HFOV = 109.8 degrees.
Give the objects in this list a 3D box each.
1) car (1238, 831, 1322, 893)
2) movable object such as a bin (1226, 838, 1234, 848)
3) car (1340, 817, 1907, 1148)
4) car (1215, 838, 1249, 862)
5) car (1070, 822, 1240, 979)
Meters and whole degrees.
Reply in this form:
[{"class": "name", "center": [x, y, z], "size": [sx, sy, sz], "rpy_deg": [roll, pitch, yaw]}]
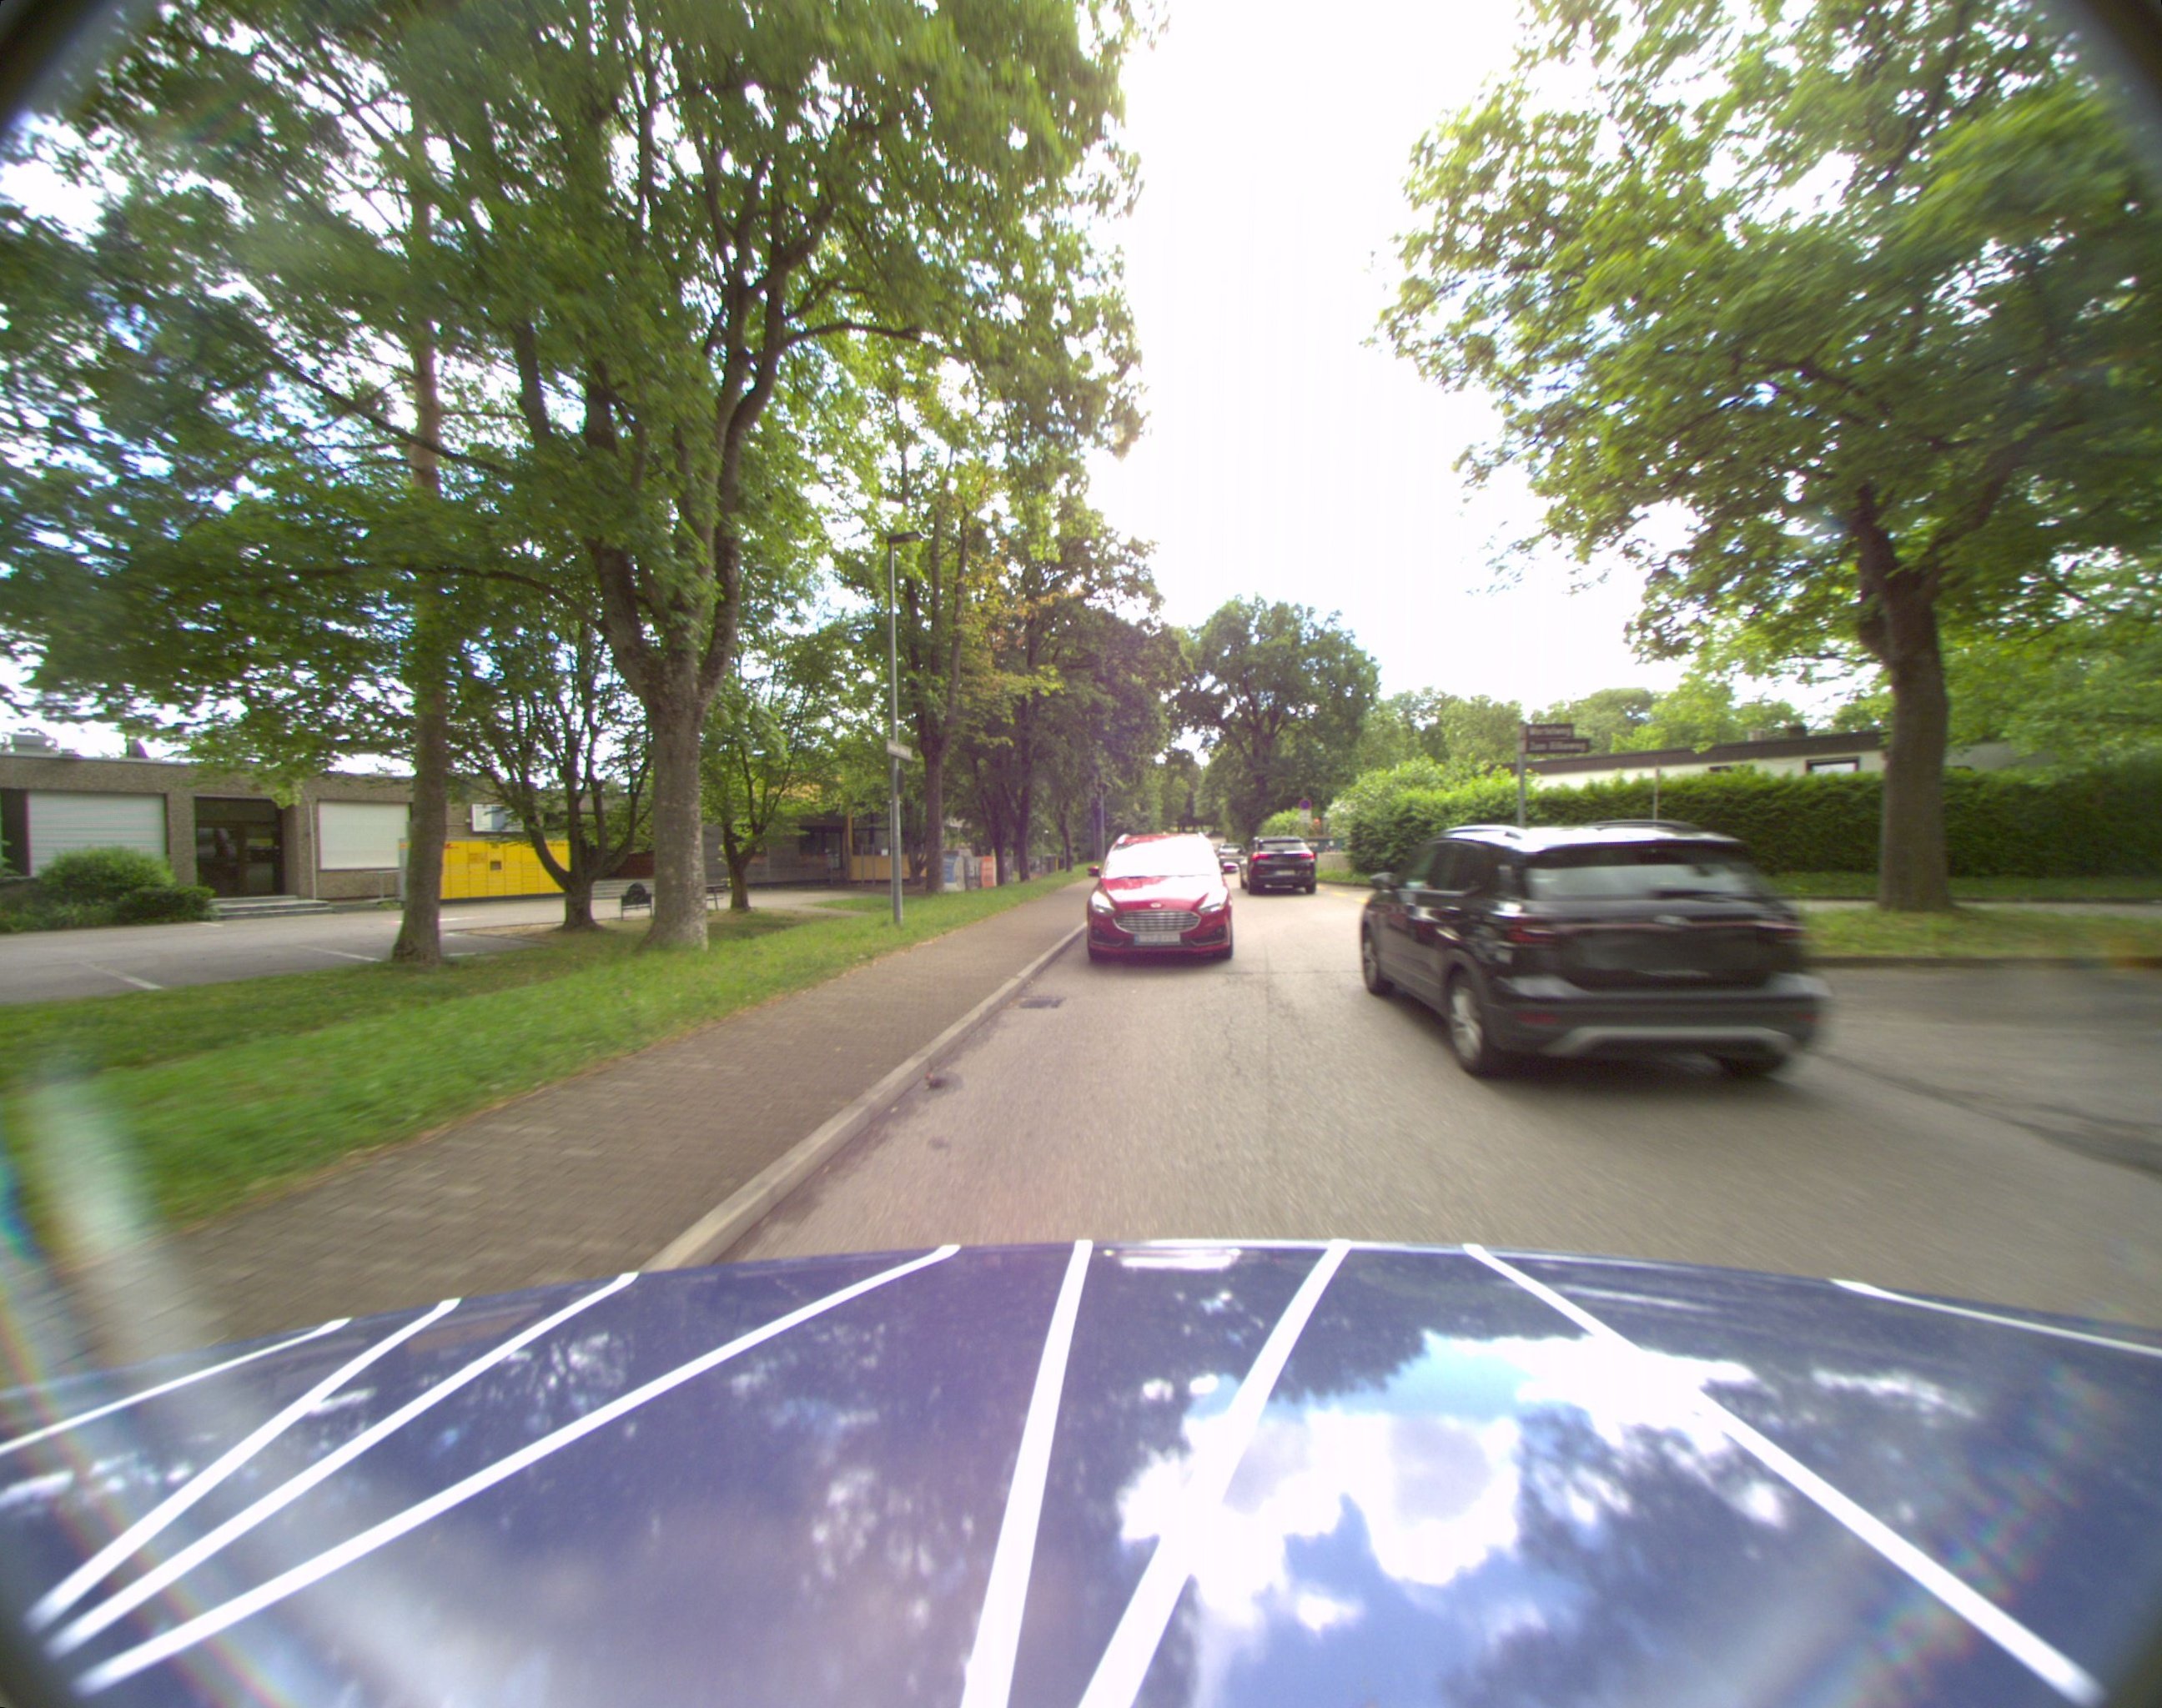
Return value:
[{"class": "car", "center": [5.625, 0.177, 21.947], "size": [1.806, 1.582, 4.298], "rpy_deg": [-1, 1, 8]}, {"class": "movable object such as a bin", "center": [15.655, -1.133, 79.974], "size": [0.649, 1.007, 0.633], "rpy_deg": [1, 3, 24]}, {"class": "car", "center": [3.348, 0.592, 5.864], "size": [1.806, 1.582, 4.298], "rpy_deg": [-1, 1, 9]}, {"class": "car", "center": [8.709, -0.247, 44.056], "size": [1.784, 1.299, 4.298], "rpy_deg": [-1, 1, 10]}, {"class": "car", "center": [1.235, 0.440, 10.722], "size": [1.814, 1.718, 4.002], "rpy_deg": [2, 3, 13]}]
